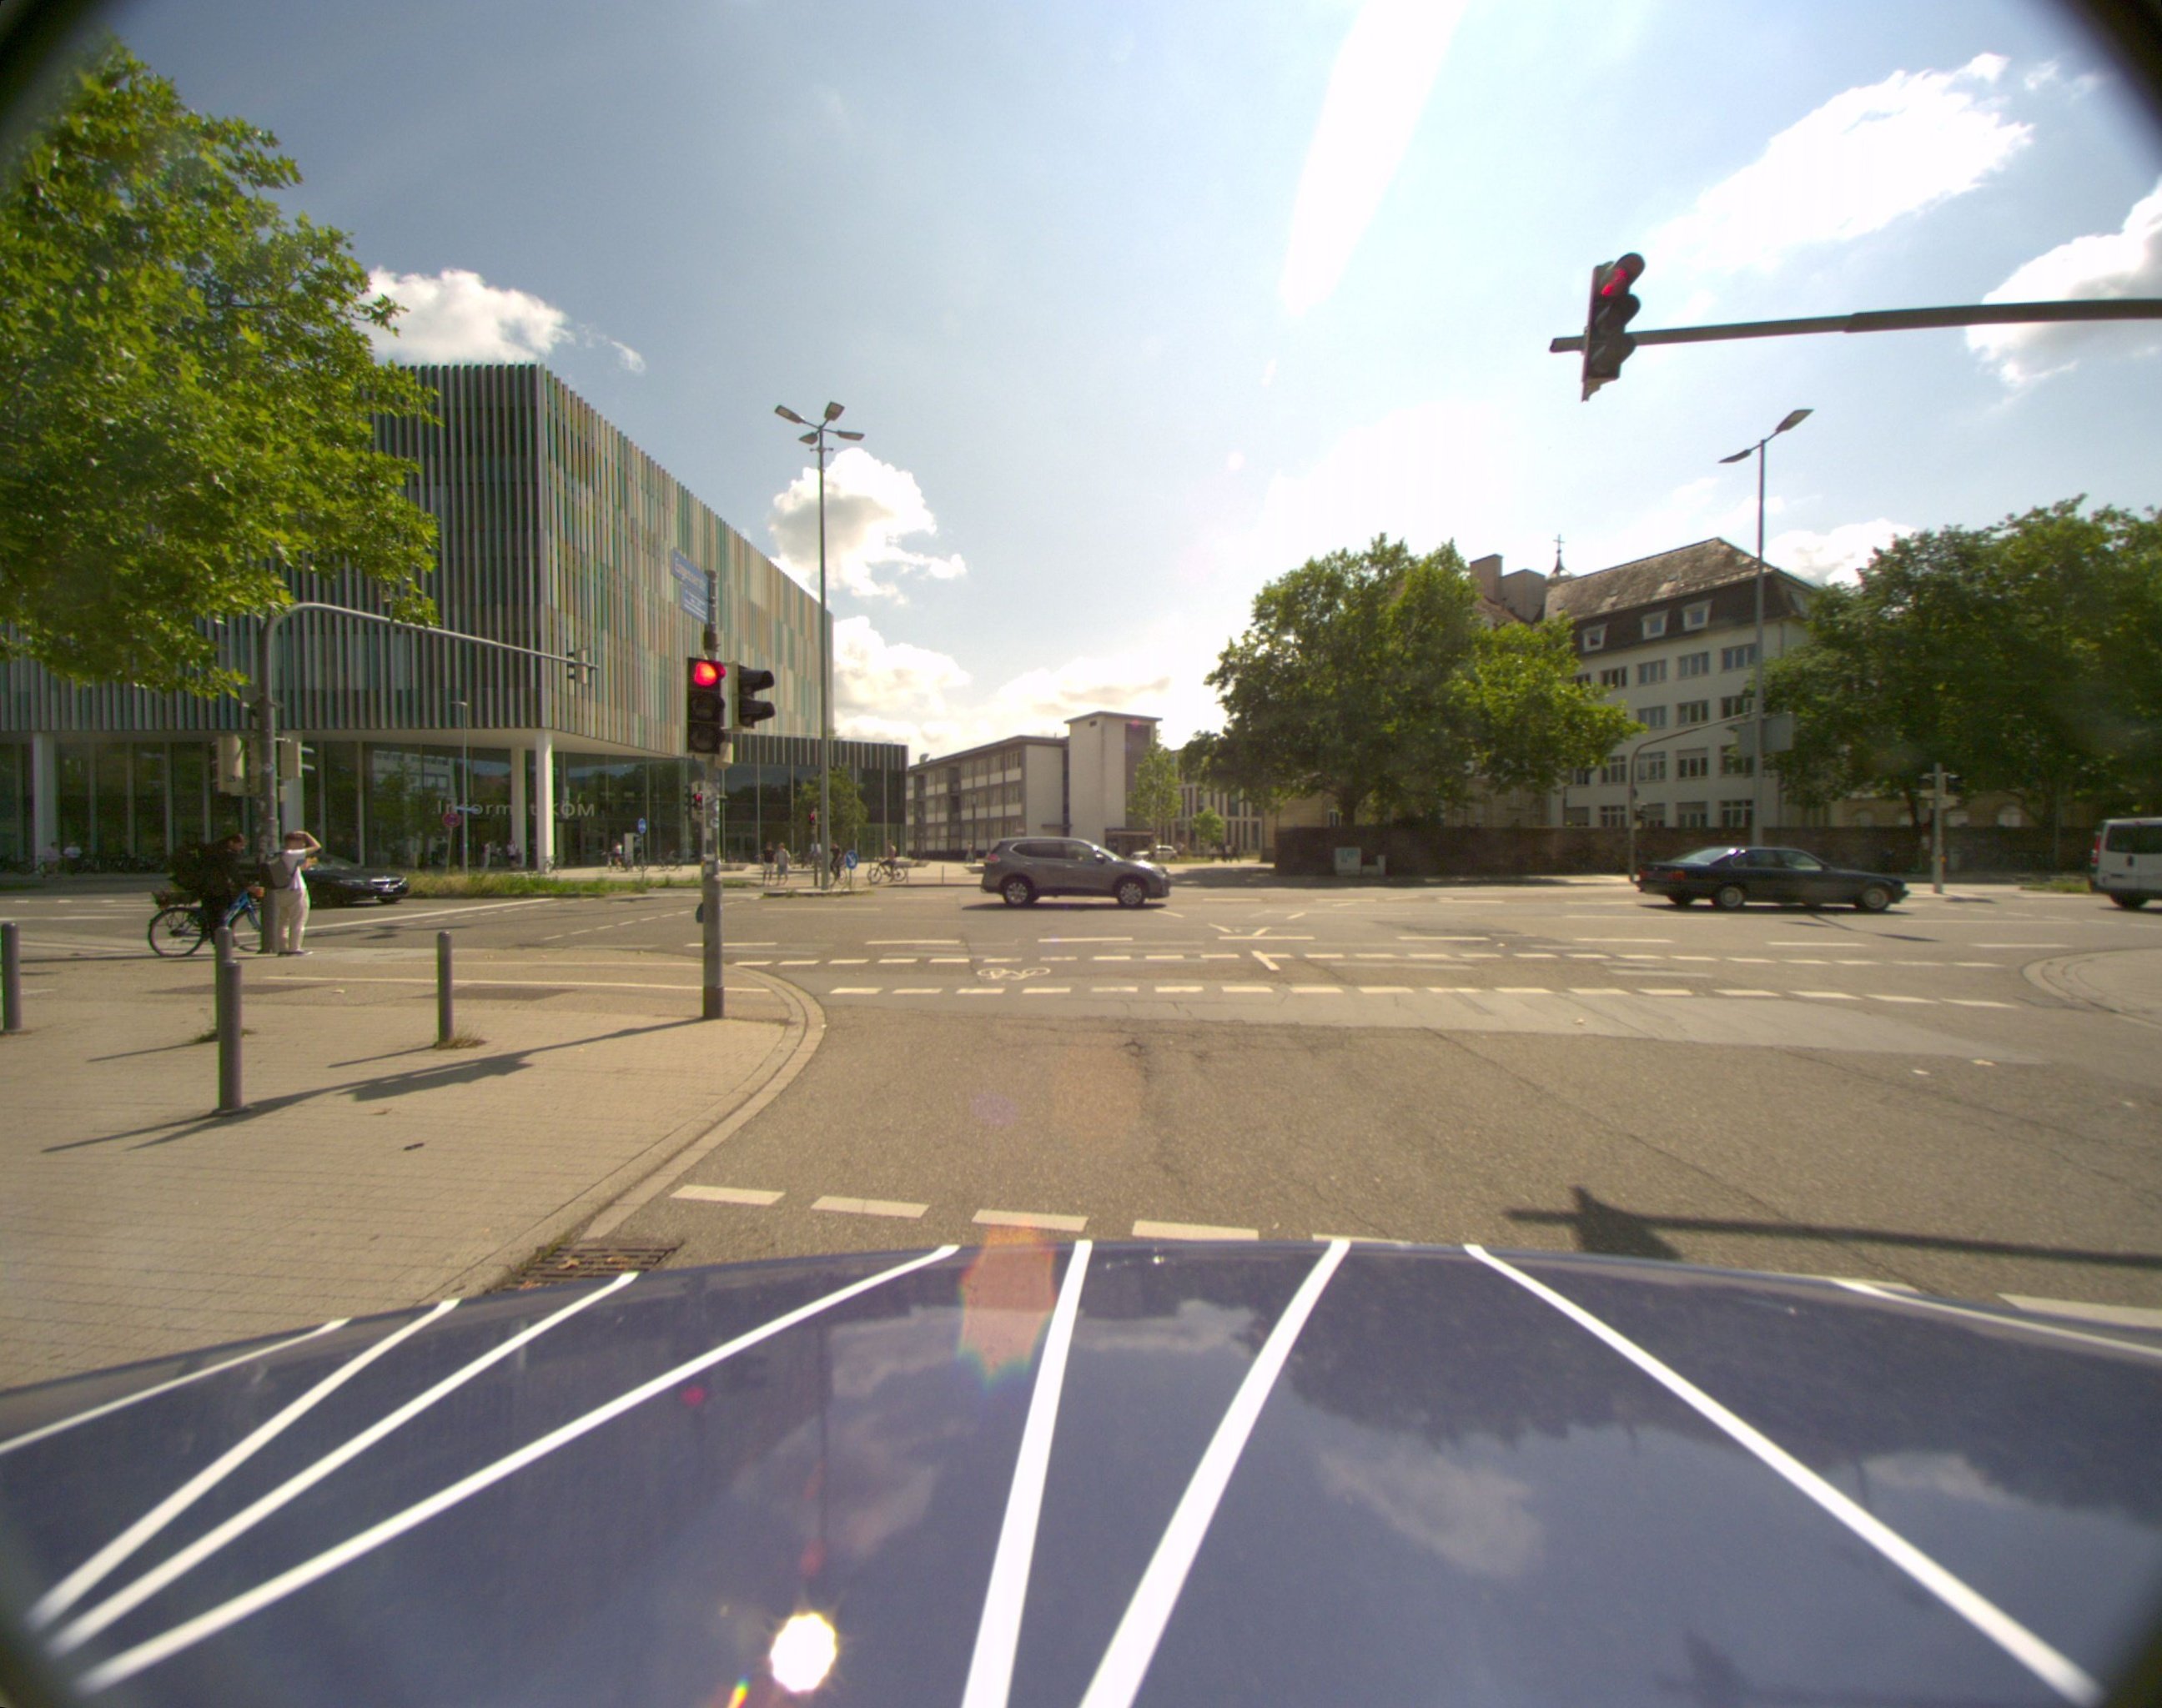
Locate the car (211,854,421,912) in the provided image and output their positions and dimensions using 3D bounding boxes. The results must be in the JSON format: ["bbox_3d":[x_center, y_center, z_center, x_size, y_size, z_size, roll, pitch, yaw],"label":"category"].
[{"bbox_3d":[-20.267,0.732,20.193,4.184,1.408,1.832,0,2,10],"label":"car"}]

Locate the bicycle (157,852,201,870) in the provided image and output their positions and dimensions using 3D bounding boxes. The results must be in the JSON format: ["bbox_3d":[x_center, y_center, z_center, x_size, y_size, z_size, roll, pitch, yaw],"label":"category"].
[{"bbox_3d":[-51.474,0.369,43.378,0.373,0.950,1.548,0,3,17],"label":"bicycle"}]

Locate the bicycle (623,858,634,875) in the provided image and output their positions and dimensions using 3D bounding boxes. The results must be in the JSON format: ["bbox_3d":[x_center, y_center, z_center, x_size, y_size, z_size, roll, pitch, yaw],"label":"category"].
[{"bbox_3d":[-26.824,0.706,45.048,0.374,0.950,1.768,-2,2,-37],"label":"bicycle"}]

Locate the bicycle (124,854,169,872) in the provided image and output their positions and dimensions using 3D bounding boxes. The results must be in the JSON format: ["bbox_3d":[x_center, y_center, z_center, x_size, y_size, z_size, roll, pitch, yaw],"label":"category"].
[{"bbox_3d":[-52.773,0.500,42.934,0.373,0.950,1.548,0,3,17],"label":"bicycle"}]

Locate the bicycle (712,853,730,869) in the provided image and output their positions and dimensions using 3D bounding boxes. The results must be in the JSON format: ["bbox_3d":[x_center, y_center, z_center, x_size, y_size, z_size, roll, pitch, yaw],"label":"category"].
[{"bbox_3d":[-22.461,0.445,47.443,0.530,0.950,1.768,-2,3,-42],"label":"bicycle"}]

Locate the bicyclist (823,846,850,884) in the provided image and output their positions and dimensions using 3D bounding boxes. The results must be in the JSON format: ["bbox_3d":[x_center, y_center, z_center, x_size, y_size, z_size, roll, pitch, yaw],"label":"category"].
[{"bbox_3d":[-10.397,0.452,32.311,1.001,1.606,0.656,-1,2,-27],"label":"bicyclist"}]

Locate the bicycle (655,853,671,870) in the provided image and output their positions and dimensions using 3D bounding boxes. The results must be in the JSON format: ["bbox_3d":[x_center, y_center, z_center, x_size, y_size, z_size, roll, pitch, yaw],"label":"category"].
[{"bbox_3d":[-25.230,0.433,45.892,0.529,0.950,1.770,-1,2,-18],"label":"bicycle"}]

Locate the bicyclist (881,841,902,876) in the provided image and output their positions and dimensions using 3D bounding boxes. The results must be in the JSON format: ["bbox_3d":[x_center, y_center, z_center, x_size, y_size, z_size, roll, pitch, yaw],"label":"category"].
[{"bbox_3d":[-8.373,0.191,33.501,0.787,1.530,0.656,-1,2,-23],"label":"bicyclist"}]

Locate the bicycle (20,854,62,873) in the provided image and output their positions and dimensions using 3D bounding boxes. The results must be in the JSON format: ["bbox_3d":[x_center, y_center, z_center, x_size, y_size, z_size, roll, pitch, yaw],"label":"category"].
[{"bbox_3d":[-58.334,0.522,42.634,0.373,0.950,1.544,-1,2,-9],"label":"bicycle"}]

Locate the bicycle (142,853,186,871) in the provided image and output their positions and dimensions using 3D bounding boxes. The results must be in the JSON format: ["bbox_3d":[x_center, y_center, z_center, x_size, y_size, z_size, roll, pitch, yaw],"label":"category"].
[{"bbox_3d":[-52.046,0.441,43.149,0.373,0.950,1.548,0,3,17],"label":"bicycle"}]

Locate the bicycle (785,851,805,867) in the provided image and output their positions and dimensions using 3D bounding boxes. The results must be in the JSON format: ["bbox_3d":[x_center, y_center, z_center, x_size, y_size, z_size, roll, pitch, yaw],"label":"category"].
[{"bbox_3d":[-18.853,0.325,50.090,0.530,0.950,1.768,-2,2,-44],"label":"bicycle"}]

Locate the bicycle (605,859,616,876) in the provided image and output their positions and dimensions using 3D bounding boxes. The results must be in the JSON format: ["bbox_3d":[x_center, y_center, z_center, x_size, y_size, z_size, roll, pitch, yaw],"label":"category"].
[{"bbox_3d":[-27.256,0.761,44.022,0.374,0.950,1.542,-2,2,-37],"label":"bicycle"}]

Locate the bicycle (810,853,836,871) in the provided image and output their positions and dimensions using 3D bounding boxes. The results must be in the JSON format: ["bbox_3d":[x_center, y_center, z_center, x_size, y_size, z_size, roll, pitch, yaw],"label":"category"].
[{"bbox_3d":[-14.535,0.449,42.768,1.768,0.950,0.530,1,2,40],"label":"bicycle"}]

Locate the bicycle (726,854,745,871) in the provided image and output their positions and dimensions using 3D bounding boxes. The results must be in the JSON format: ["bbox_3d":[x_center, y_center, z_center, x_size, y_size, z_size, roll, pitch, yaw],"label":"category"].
[{"bbox_3d":[-21.853,0.519,48.033,0.530,0.950,1.768,-6,5,-41],"label":"bicycle"}]

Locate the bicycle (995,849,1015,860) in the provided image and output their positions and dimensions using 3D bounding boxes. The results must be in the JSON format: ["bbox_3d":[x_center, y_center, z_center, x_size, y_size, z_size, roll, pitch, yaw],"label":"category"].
[{"bbox_3d":[-6.971,0.018,69.958,1.776,0.950,0.528,-1,3,-26],"label":"bicycle"}]

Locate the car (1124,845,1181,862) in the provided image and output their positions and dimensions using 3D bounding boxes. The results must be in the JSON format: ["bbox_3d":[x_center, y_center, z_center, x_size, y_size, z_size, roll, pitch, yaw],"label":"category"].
[{"bbox_3d":[6.096,-0.077,64.652,4.501,1.299,1.995,-2,3,-30],"label":"car"}]

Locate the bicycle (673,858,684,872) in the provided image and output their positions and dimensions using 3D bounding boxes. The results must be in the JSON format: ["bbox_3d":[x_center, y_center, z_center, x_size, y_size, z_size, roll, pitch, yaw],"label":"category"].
[{"bbox_3d":[-24.484,0.673,46.236,0.530,0.760,1.769,-1,2,-30],"label":"bicycle"}]

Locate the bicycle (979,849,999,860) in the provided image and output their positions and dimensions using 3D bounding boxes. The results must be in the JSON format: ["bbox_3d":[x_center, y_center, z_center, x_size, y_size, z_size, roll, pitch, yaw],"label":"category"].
[{"bbox_3d":[-8.826,0.037,73.052,1.776,0.950,0.528,-1,3,-26],"label":"bicycle"}]

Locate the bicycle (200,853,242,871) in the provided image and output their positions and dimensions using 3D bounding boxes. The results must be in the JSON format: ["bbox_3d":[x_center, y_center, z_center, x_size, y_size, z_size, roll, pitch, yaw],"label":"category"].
[{"bbox_3d":[-48.949,0.424,43.264,0.373,0.950,1.548,0,3,17],"label":"bicycle"}]

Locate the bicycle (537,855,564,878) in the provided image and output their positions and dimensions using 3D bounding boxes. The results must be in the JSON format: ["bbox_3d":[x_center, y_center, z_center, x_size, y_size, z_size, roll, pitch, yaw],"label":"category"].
[{"bbox_3d":[-29.709,0.693,42.558,0.373,1.181,1.546,1,3,0],"label":"bicycle"}]

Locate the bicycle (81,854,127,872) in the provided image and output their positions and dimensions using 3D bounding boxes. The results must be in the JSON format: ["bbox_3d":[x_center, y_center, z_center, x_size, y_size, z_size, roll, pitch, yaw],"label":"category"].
[{"bbox_3d":[-55.856,0.491,43.457,0.373,0.950,1.548,0,3,17],"label":"bicycle"}]

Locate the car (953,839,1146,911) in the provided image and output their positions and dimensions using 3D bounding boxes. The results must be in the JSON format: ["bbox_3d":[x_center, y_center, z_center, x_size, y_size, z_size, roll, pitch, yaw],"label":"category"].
[{"bbox_3d":[-0.680,0.486,18.632,4.473,1.669,1.825,0,2,6],"label":"car"}]

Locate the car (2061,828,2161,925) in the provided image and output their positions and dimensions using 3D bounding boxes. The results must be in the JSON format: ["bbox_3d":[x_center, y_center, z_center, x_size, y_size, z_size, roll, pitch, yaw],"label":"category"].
[{"bbox_3d":[24.535,0.421,15.825,5.188,1.944,2.013,0,2,5],"label":"car"}]

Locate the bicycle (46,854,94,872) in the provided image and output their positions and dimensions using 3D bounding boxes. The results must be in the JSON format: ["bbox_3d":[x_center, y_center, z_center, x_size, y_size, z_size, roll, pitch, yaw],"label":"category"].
[{"bbox_3d":[-57.625,0.479,43.321,0.373,0.950,1.548,0,3,17],"label":"bicycle"}]

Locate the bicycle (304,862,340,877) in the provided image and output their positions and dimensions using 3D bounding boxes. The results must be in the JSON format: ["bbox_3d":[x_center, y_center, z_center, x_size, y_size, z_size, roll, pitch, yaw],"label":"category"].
[{"bbox_3d":[-43.748,0.860,43.811,0.373,0.771,1.546,0,2,5],"label":"bicycle"}]

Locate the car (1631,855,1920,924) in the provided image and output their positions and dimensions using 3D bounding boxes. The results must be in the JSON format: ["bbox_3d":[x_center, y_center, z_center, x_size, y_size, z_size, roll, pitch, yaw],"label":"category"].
[{"bbox_3d":[15.324,0.736,17.015,4.607,1.378,1.698,0,1,8],"label":"car"}]

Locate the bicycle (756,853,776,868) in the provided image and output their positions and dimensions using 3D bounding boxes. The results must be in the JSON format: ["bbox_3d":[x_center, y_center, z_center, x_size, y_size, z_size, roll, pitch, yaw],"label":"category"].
[{"bbox_3d":[-20.521,0.437,49.505,0.530,0.950,1.768,-2,2,-44],"label":"bicycle"}]

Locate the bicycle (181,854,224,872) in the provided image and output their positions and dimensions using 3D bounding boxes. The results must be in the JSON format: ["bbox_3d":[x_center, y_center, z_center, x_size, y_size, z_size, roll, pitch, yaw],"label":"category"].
[{"bbox_3d":[-50.286,0.527,43.508,0.373,0.950,1.548,0,3,17],"label":"bicycle"}]

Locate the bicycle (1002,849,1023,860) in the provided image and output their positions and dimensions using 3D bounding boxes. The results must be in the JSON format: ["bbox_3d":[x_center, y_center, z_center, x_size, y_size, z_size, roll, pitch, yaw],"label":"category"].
[{"bbox_3d":[-6.215,0.060,68.879,1.775,0.950,0.528,0,3,-24],"label":"bicycle"}]

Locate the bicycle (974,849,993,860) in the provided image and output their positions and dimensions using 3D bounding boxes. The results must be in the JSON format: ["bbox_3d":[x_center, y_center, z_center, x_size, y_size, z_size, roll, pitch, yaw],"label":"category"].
[{"bbox_3d":[-9.451,0.040,73.957,1.776,0.950,0.528,-1,3,-26],"label":"bicycle"}]

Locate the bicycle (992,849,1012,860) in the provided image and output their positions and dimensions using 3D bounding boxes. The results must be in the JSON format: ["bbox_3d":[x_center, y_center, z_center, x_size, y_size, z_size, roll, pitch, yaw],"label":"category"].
[{"bbox_3d":[-7.372,0.033,70.861,1.776,0.950,0.528,-1,3,-26],"label":"bicycle"}]

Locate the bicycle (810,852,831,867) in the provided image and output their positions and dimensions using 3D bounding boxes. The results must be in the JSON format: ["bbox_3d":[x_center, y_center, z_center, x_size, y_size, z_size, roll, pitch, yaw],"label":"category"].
[{"bbox_3d":[-17.455,0.337,50.907,1.768,0.950,0.530,1,2,40],"label":"bicycle"}]

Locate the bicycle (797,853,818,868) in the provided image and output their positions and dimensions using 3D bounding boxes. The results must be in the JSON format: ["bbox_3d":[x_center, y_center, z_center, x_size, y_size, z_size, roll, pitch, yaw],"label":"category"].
[{"bbox_3d":[-18.219,0.420,50.601,1.768,0.950,0.530,1,2,40],"label":"bicycle"}]

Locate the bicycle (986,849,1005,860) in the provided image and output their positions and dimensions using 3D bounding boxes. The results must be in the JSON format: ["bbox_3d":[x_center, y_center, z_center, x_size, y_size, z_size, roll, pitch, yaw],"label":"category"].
[{"bbox_3d":[-8.098,0.039,71.946,1.776,0.950,0.528,-1,3,-26],"label":"bicycle"}]

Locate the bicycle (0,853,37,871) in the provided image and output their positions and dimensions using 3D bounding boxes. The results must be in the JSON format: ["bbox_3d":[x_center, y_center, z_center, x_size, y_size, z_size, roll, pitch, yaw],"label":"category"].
[{"bbox_3d":[-62.156,0.462,44.138,0.433,0.950,1.785,0,2,2],"label":"bicycle"}]

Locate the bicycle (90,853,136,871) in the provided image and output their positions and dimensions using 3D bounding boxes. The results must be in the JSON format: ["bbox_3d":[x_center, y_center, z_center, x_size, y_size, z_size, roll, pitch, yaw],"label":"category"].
[{"bbox_3d":[-55.245,0.470,43.366,0.373,0.950,1.548,0,3,17],"label":"bicycle"}]

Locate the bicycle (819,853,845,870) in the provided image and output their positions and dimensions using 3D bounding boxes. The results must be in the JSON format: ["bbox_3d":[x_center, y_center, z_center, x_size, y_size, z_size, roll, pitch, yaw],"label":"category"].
[{"bbox_3d":[-14.150,0.416,43.223,1.768,0.950,0.530,1,2,40],"label":"bicycle"}]

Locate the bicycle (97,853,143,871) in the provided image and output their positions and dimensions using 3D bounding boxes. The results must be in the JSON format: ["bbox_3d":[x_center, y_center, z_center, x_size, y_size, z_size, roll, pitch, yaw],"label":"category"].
[{"bbox_3d":[-54.696,0.470,43.270,0.373,0.950,1.548,0,3,17],"label":"bicycle"}]
